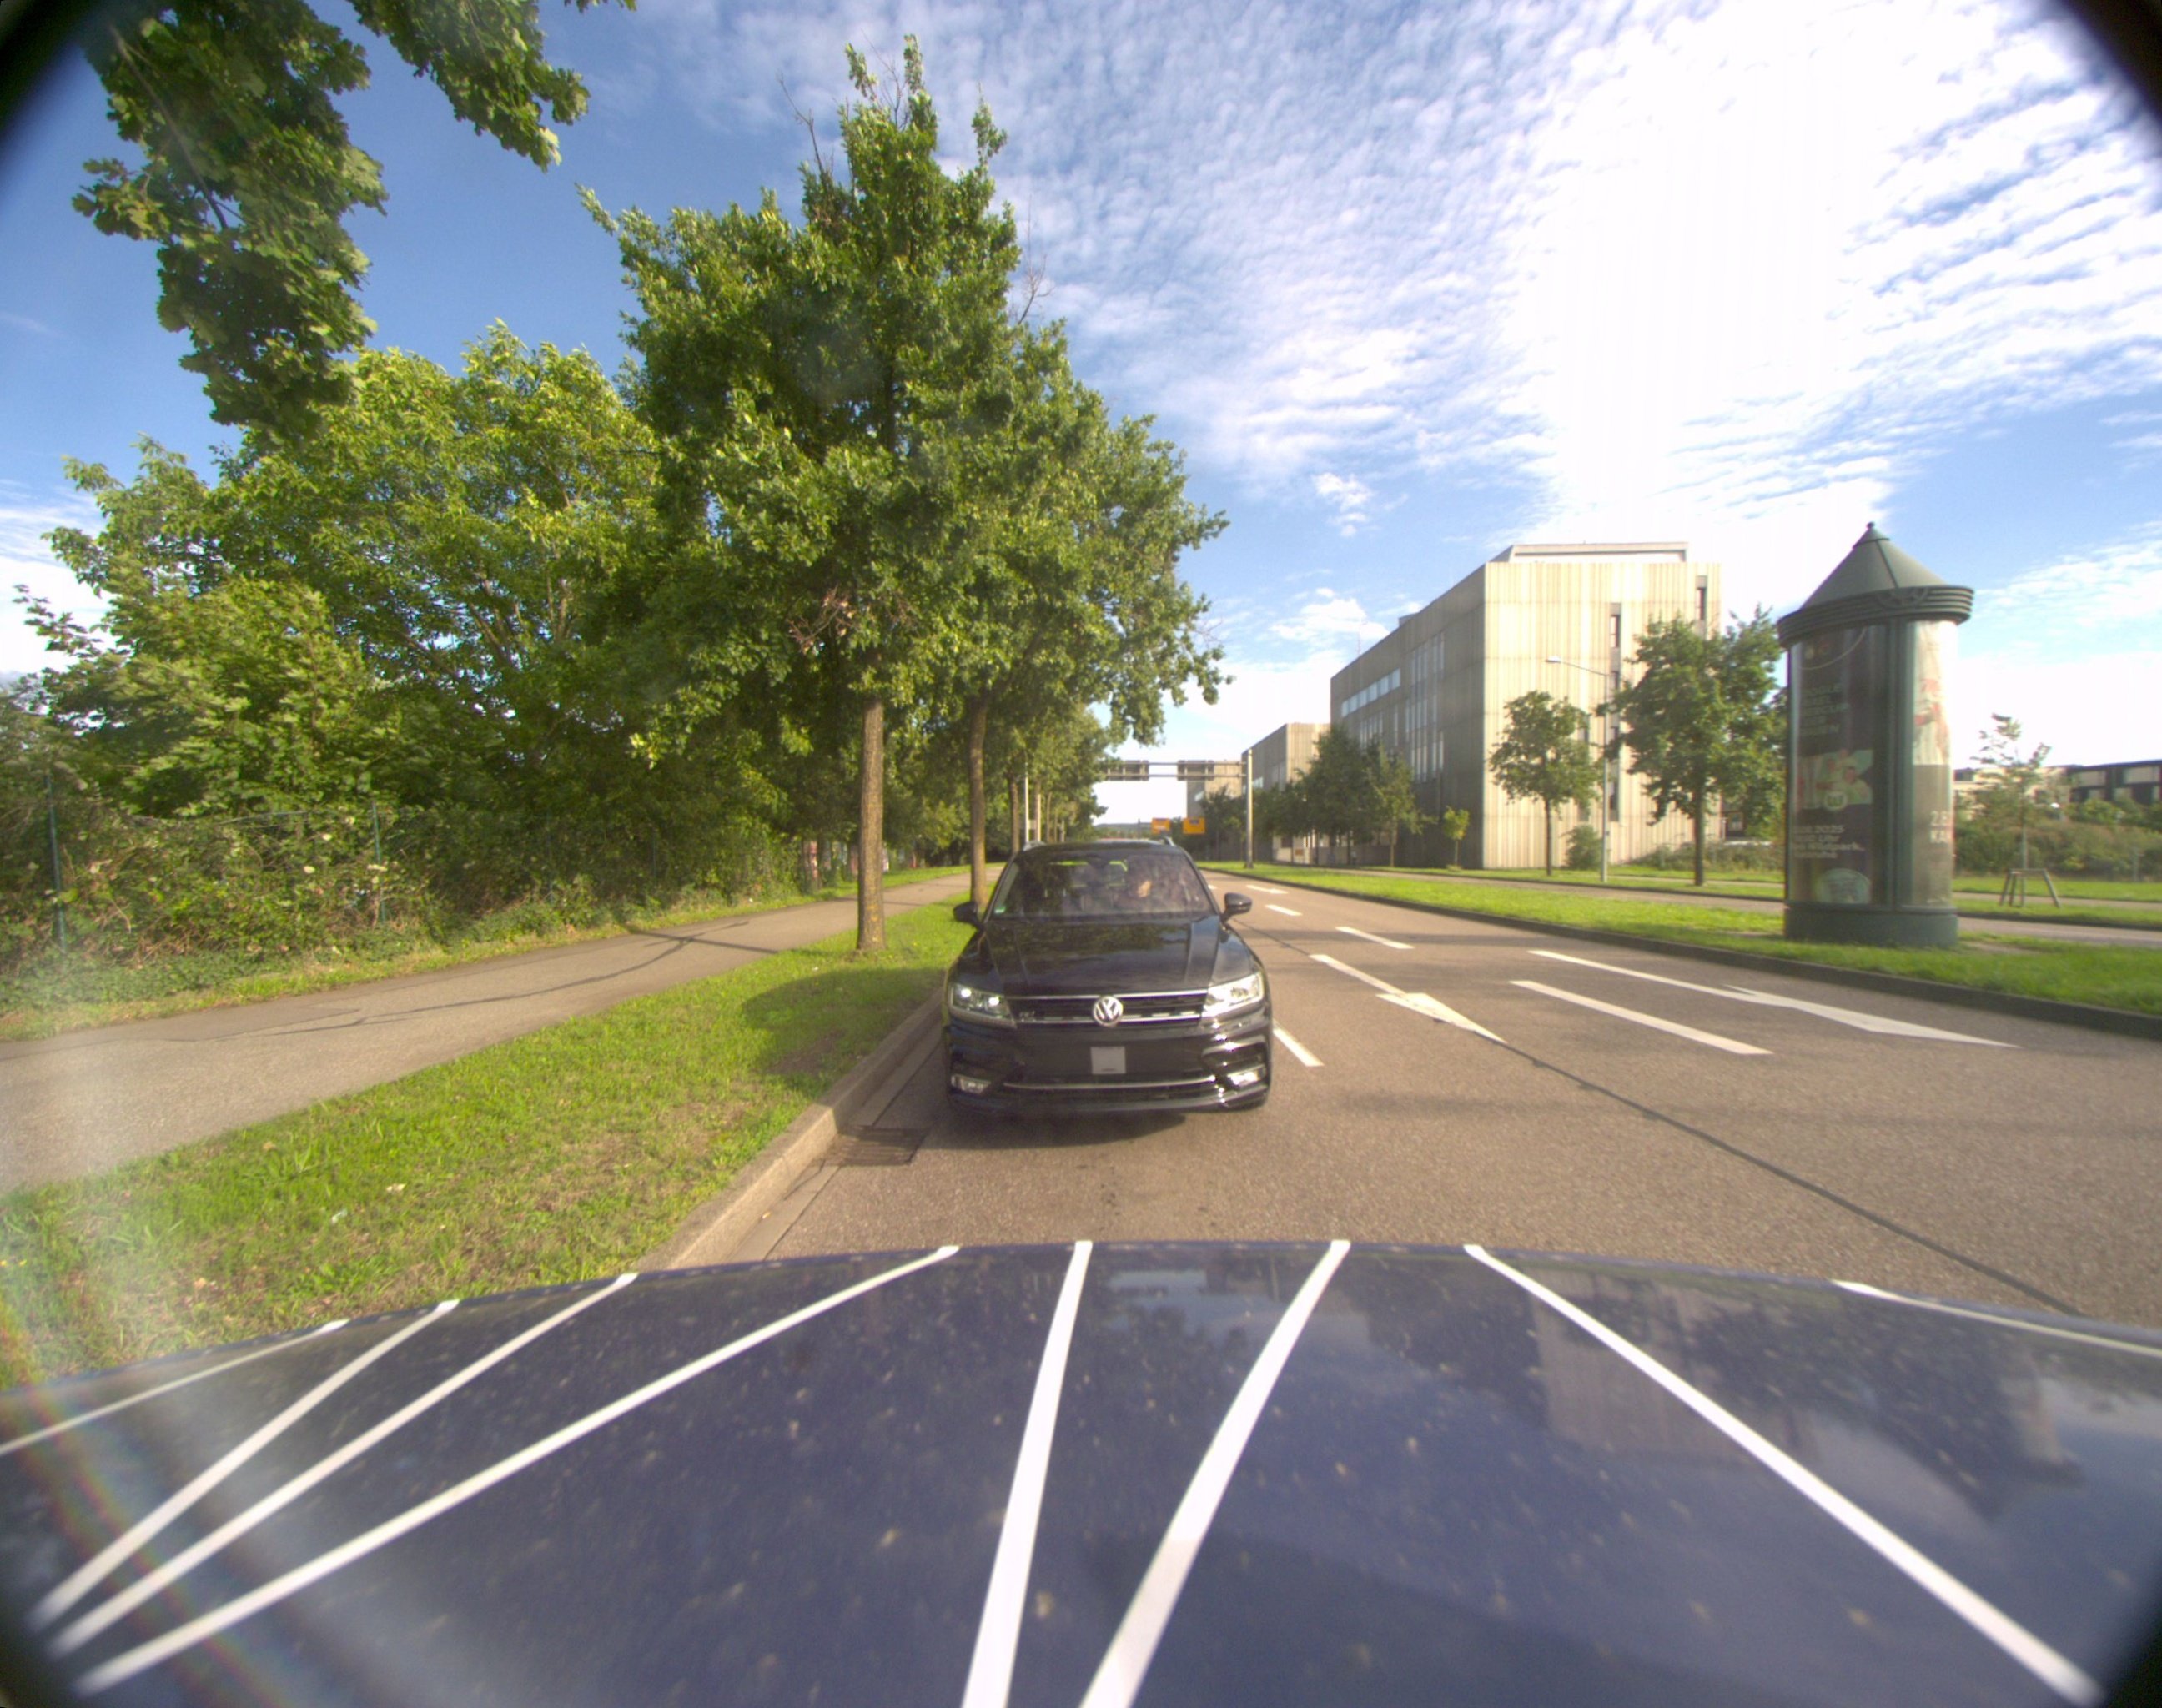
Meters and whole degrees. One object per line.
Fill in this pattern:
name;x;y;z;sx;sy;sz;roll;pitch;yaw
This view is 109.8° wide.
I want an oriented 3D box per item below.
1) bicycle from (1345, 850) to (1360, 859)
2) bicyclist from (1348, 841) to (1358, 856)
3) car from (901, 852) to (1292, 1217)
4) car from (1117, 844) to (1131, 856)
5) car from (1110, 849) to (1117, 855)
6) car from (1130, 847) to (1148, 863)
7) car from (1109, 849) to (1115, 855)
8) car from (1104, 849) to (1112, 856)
bicycle;28.947;0.051;80.941;0.897;0.975;1.911;0;0;1
bicyclist;28.957;-0.595;80.926;0.707;1.517;0.989;0;1;1
car;0.125;0.848;5.482;1.775;1.637;3.868;-2;1;2
car;6.268;-0.519;110.454;1.758;1.696;4.000;-1;0;0
car;9.553;-0.579;224.228;1.798;2.002;4.000;0;0;0
car;5.849;0.075;77.053;1.745;1.455;4.000;-1;1;3
car;9.847;-0.716;243.244;1.715;2.002;4.000;0;0;0
car;7.639;-0.502;215.427;1.998;2.002;4.000;0;0;0
